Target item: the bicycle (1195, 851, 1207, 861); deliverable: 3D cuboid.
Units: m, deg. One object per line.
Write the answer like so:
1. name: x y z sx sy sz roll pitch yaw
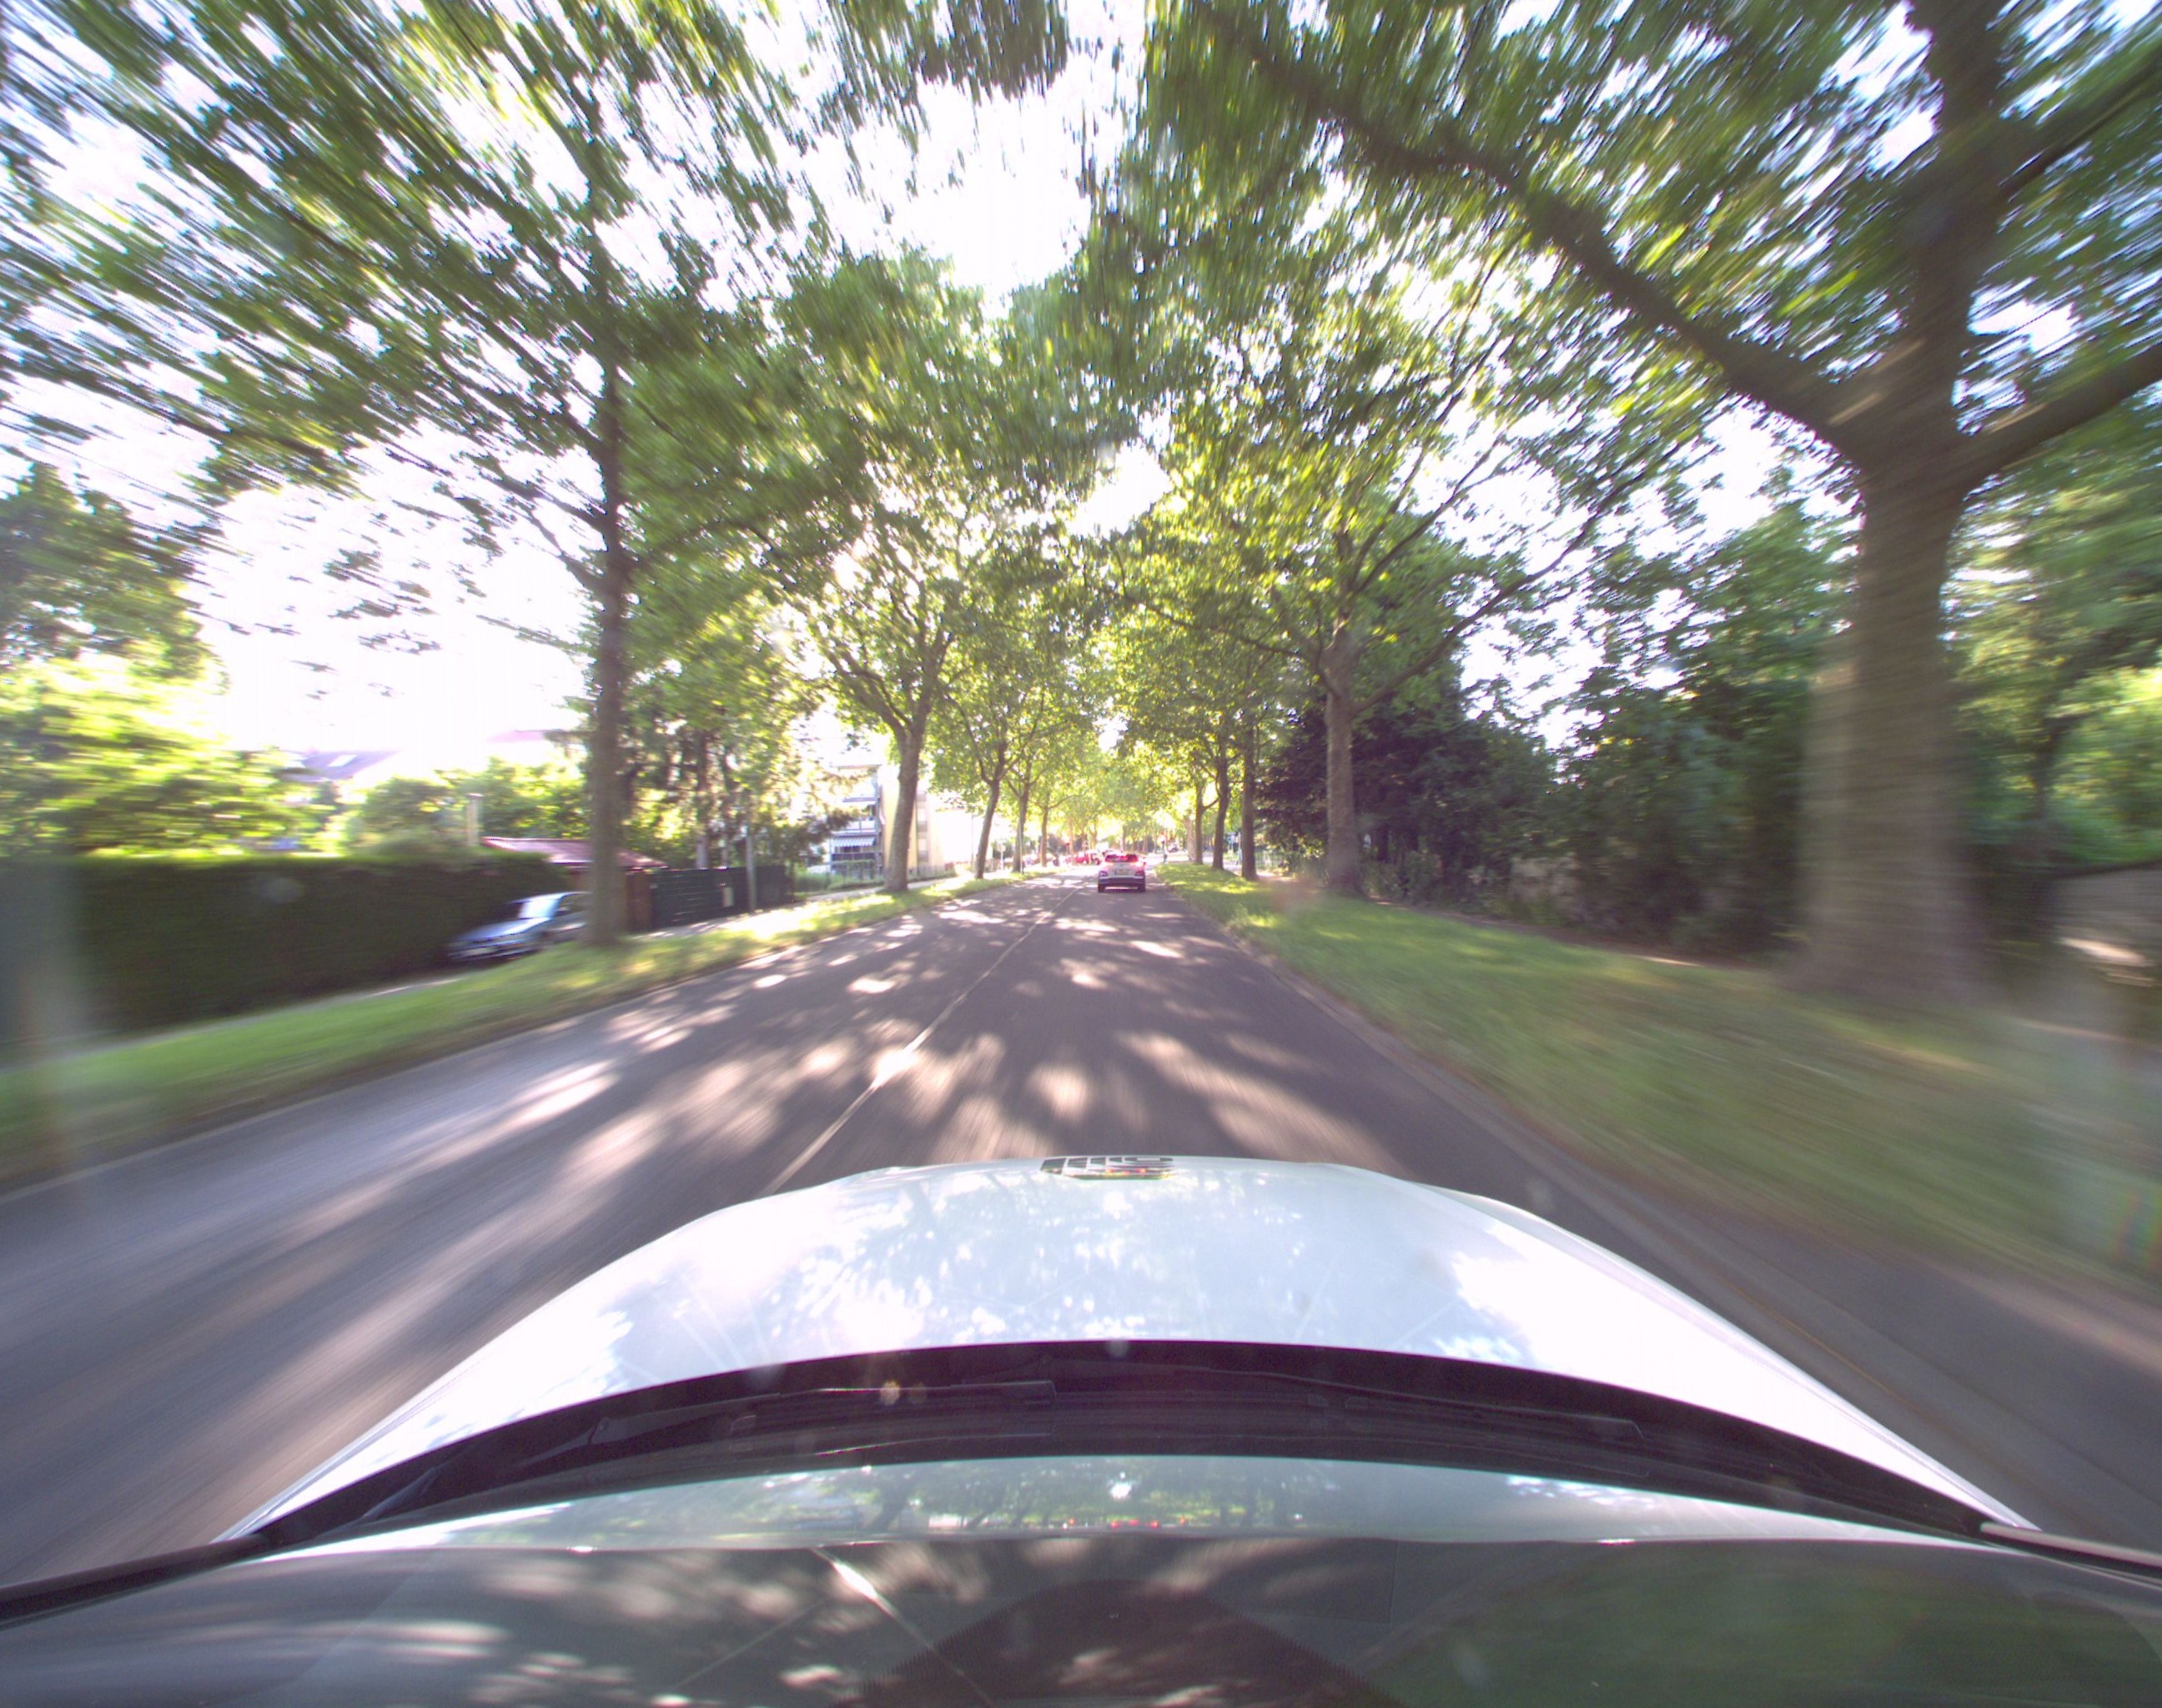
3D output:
1. bicycle: 14.509 0.253 98.661 0.604 1.183 2.108 0 -1 -14

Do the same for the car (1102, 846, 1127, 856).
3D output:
1. car: 5.518 -0.463 134.690 3.968 1.478 2.003 -1 -1 5

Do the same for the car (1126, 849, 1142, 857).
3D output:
1. car: 12.864 -0.225 196.287 3.663 1.808 1.746 -1 0 -5

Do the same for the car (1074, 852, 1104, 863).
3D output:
1. car: 1.191 0.459 115.300 3.965 1.478 2.004 -1 -1 7

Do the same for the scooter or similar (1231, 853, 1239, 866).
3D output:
1. scooter or similar: 15.011 0.509 79.469 0.546 1.258 2.317 -1 0 6

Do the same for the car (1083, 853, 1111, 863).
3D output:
1. car: 2.325 0.609 120.150 3.968 1.478 2.003 -1 -1 5

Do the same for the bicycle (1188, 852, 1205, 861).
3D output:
1. bicycle: 13.807 0.307 97.541 0.608 1.164 2.125 0 -1 -39

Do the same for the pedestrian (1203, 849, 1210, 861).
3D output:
1. pedestrian: 21.776 0.224 140.818 1.088 2.013 1.108 1 0 11

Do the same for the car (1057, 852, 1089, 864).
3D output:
1. car: -0.999 0.479 105.400 3.968 1.478 2.003 -1 -1 5

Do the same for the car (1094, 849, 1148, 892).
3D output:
1. car: 1.634 0.620 32.126 1.984 1.574 4.004 -1 0 4

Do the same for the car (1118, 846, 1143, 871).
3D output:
1. car: 4.154 0.367 69.090 1.985 2.014 4.002 1 -1 3

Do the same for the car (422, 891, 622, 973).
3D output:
1. car: -12.345 1.651 18.359 1.747 1.304 3.998 -3 1 -1

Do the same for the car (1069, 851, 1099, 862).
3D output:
1. car: 0.486 0.396 112.874 3.968 1.478 2.003 -1 -1 5
